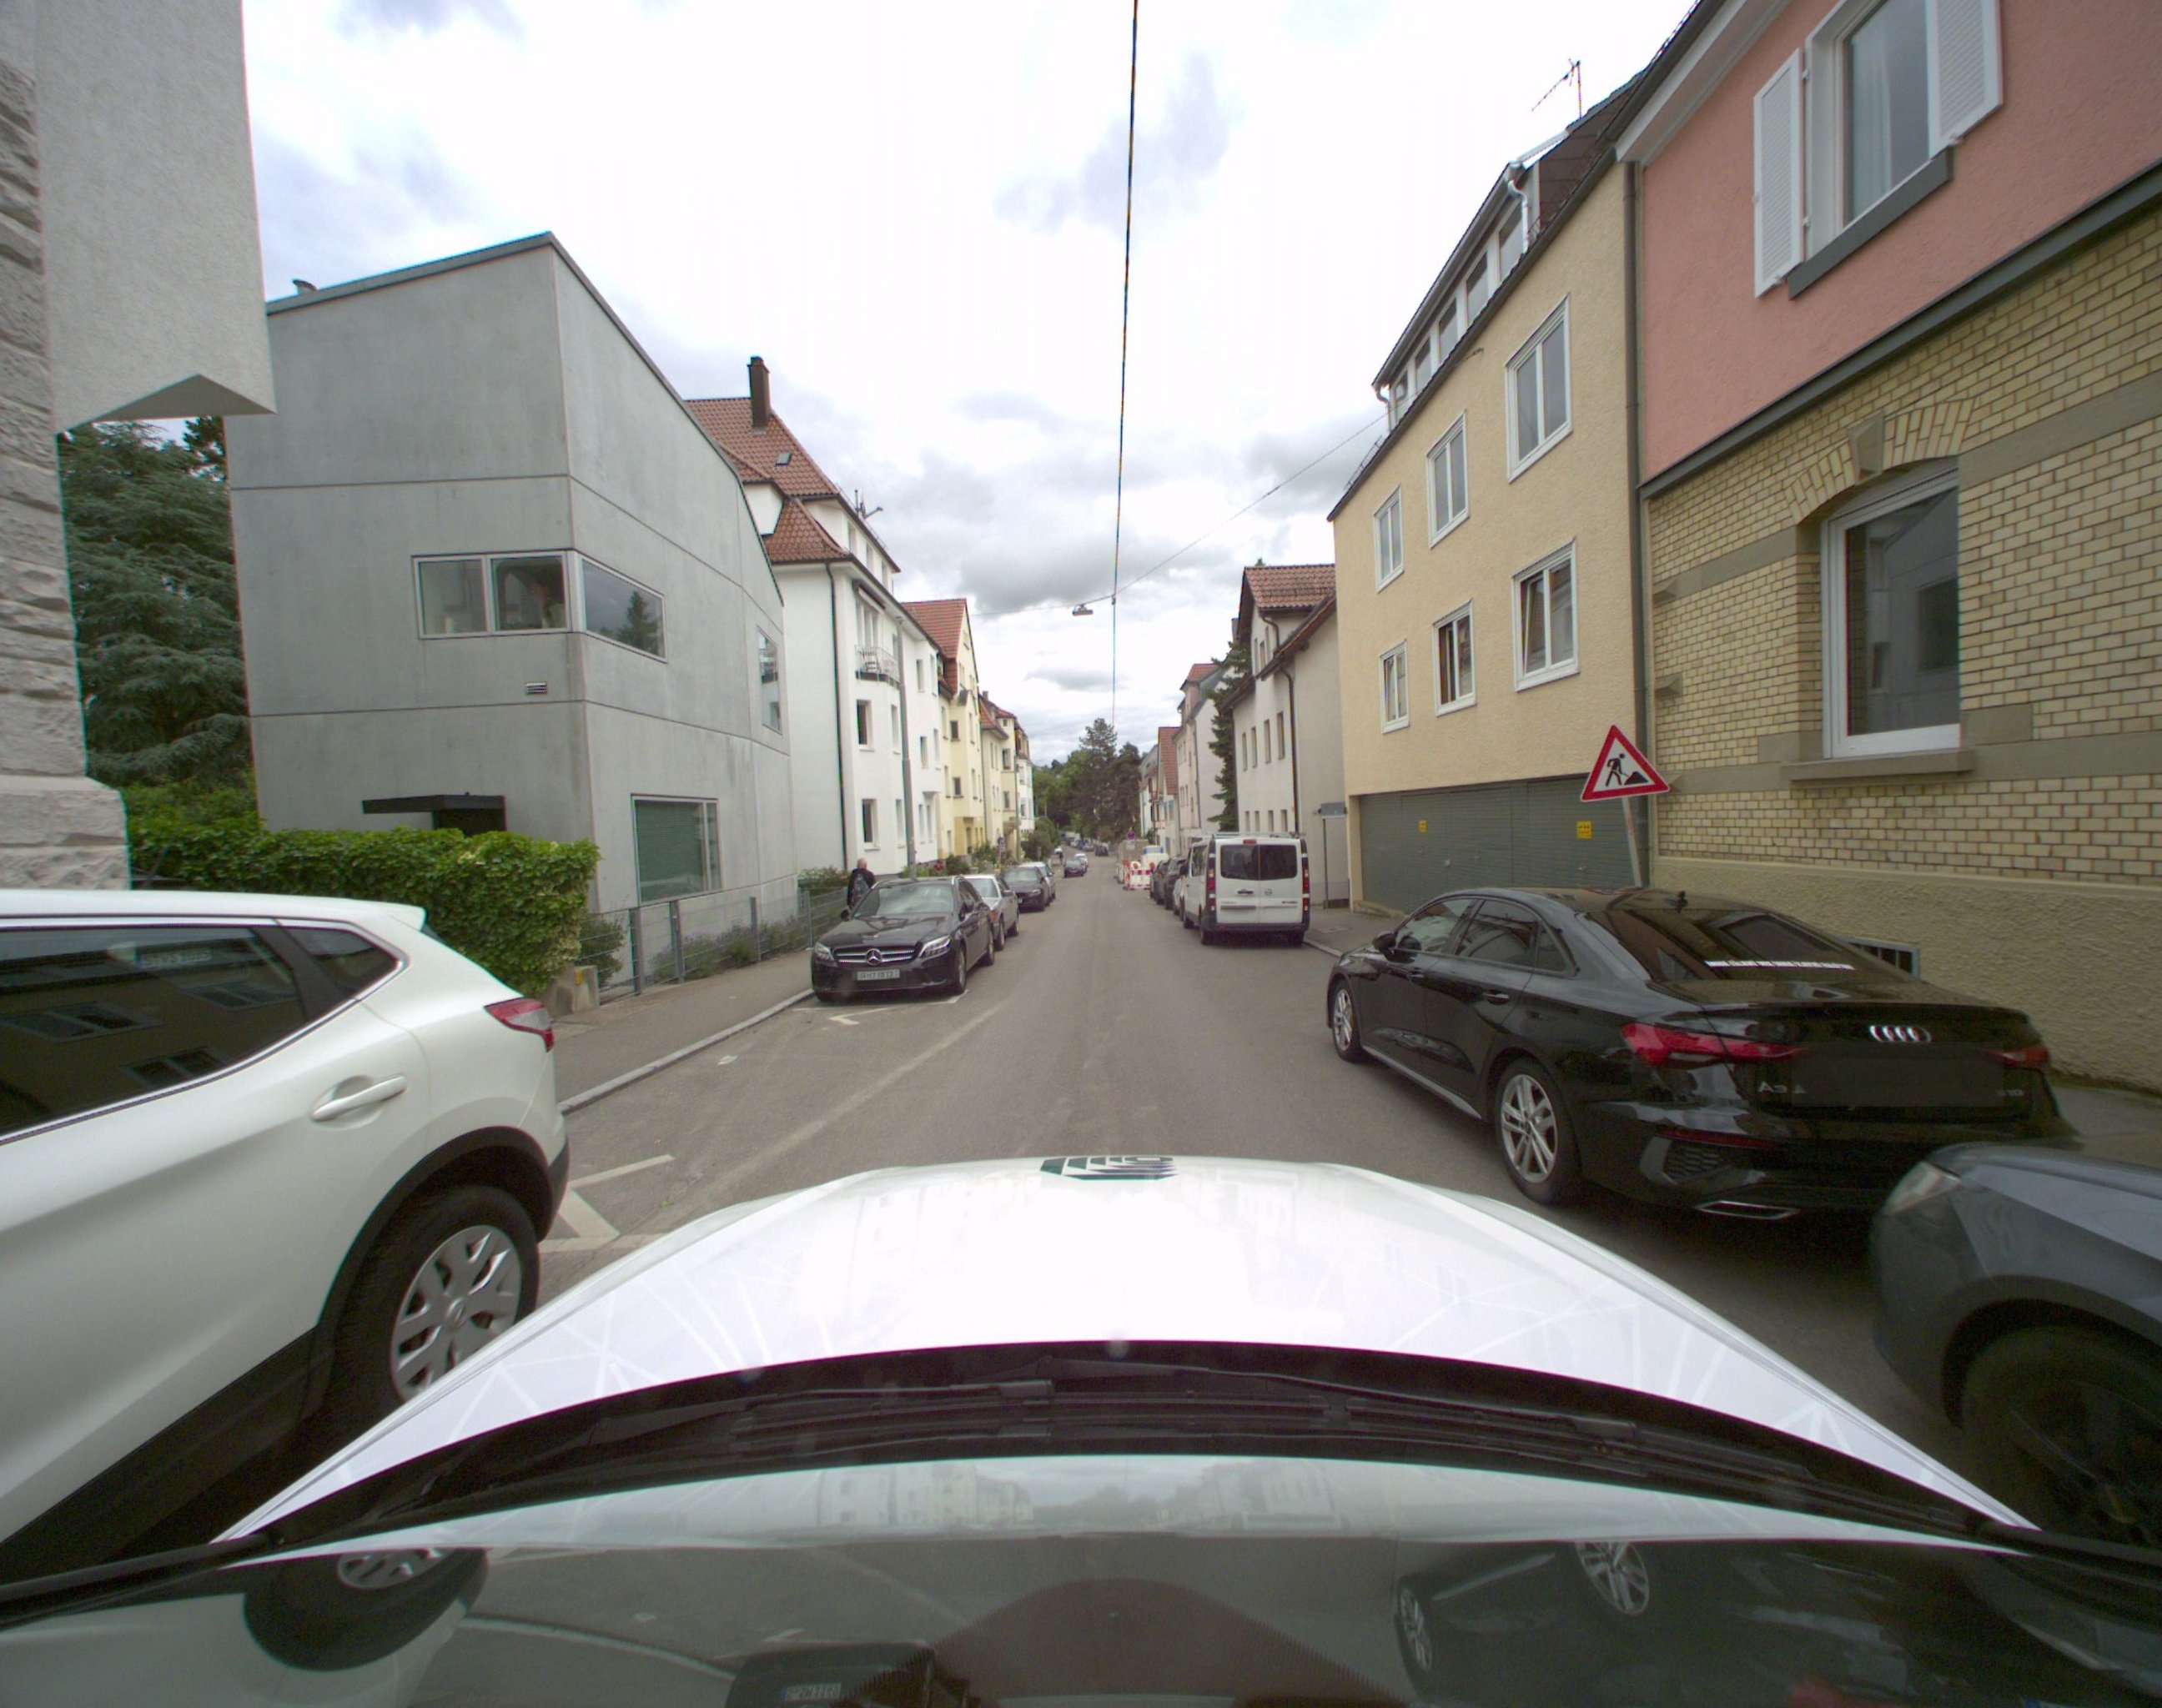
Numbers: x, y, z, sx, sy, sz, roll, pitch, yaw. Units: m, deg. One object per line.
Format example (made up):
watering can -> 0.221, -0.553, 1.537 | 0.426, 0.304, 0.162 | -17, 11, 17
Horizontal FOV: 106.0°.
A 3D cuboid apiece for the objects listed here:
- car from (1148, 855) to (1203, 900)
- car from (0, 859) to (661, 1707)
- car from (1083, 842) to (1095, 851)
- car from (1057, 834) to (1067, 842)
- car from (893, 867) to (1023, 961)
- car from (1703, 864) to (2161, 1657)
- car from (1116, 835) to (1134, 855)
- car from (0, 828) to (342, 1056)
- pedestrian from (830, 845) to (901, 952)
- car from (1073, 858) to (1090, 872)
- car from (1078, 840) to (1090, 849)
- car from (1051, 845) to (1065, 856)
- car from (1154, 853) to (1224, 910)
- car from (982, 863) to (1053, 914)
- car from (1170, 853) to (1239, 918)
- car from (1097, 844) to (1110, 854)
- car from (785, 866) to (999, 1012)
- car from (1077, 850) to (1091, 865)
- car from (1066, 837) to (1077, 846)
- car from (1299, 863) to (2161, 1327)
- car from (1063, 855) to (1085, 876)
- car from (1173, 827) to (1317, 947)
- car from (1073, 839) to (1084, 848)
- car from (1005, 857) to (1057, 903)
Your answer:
car -> 3.531, 0.833, 30.948 | 1.709, 1.565, 4.075 | -1, 0, 2
car -> -2.580, 0.829, 1.042 | 1.839, 1.515, 4.239 | -3, 0, -1
car -> 1.398, -1.343, 144.148 | 1.633, 1.483, 3.522 | -2, 4, -8
car -> -4.139, -3.453, 175.133 | 1.633, 1.537, 3.522 | -2, 4, -8
car -> -2.288, 1.074, 16.527 | 1.839, 1.413, 5.060 | -3, 0, -1
car -> 2.913, 0.751, 0.576 | 1.847, 1.403, 3.964 | -1, 0, -2
car -> 5.453, -1.164, 101.884 | 1.973, 2.362, 4.277 | -3, 1, 0
car -> -8.842, 0.605, 6.883 | 3.648, 1.504, 1.659 | 4, -1, 3
pedestrian -> -3.958, 0.797, 14.999 | 0.809, 1.884, 0.852 | -3, 0, 23
car -> 0.072, 1.159, 87.496 | 1.637, 1.416, 3.984 | -4, 0, 0
car -> 0.528, -1.750, 148.719 | 1.633, 1.483, 3.522 | -2, 4, -8
car -> -4.066, -0.660, 141.638 | 1.673, 1.656, 3.848 | -4, 3, -12
car -> 3.363, 0.807, 26.033 | 1.707, 1.596, 4.499 | -1, 0, 1
car -> -2.042, 1.099, 27.353 | 1.838, 1.457, 4.505 | -4, -1, 1
car -> 3.228, 0.779, 21.646 | 1.481, 1.596, 2.792 | -1, 0, 2
car -> 3.667, -0.793, 132.381 | 1.632, 1.483, 3.523 | -1, 4, -6
car -> -2.317, 0.978, 11.268 | 1.890, 1.527, 4.469 | -3, -1, -1
car -> 0.351, 0.425, 105.675 | 1.667, 1.656, 3.864 | -4, 3, 0
car -> -1.890, -2.492, 160.613 | 1.633, 1.537, 3.522 | -2, 4, -8
car -> 2.870, 0.809, 4.952 | 1.846, 1.403, 4.574 | -1, 0, 0
car -> -0.689, 1.047, 76.915 | 1.840, 1.815, 4.541 | -4, 0, -2
car -> 3.141, 0.555, 16.872 | 1.898, 2.030, 5.734 | -1, 0, 1
car -> -0.464, -2.083, 155.006 | 1.633, 1.537, 3.522 | -2, 4, -8
car -> -1.991, 1.005, 33.483 | 1.839, 1.631, 4.285 | -3, 0, -1
